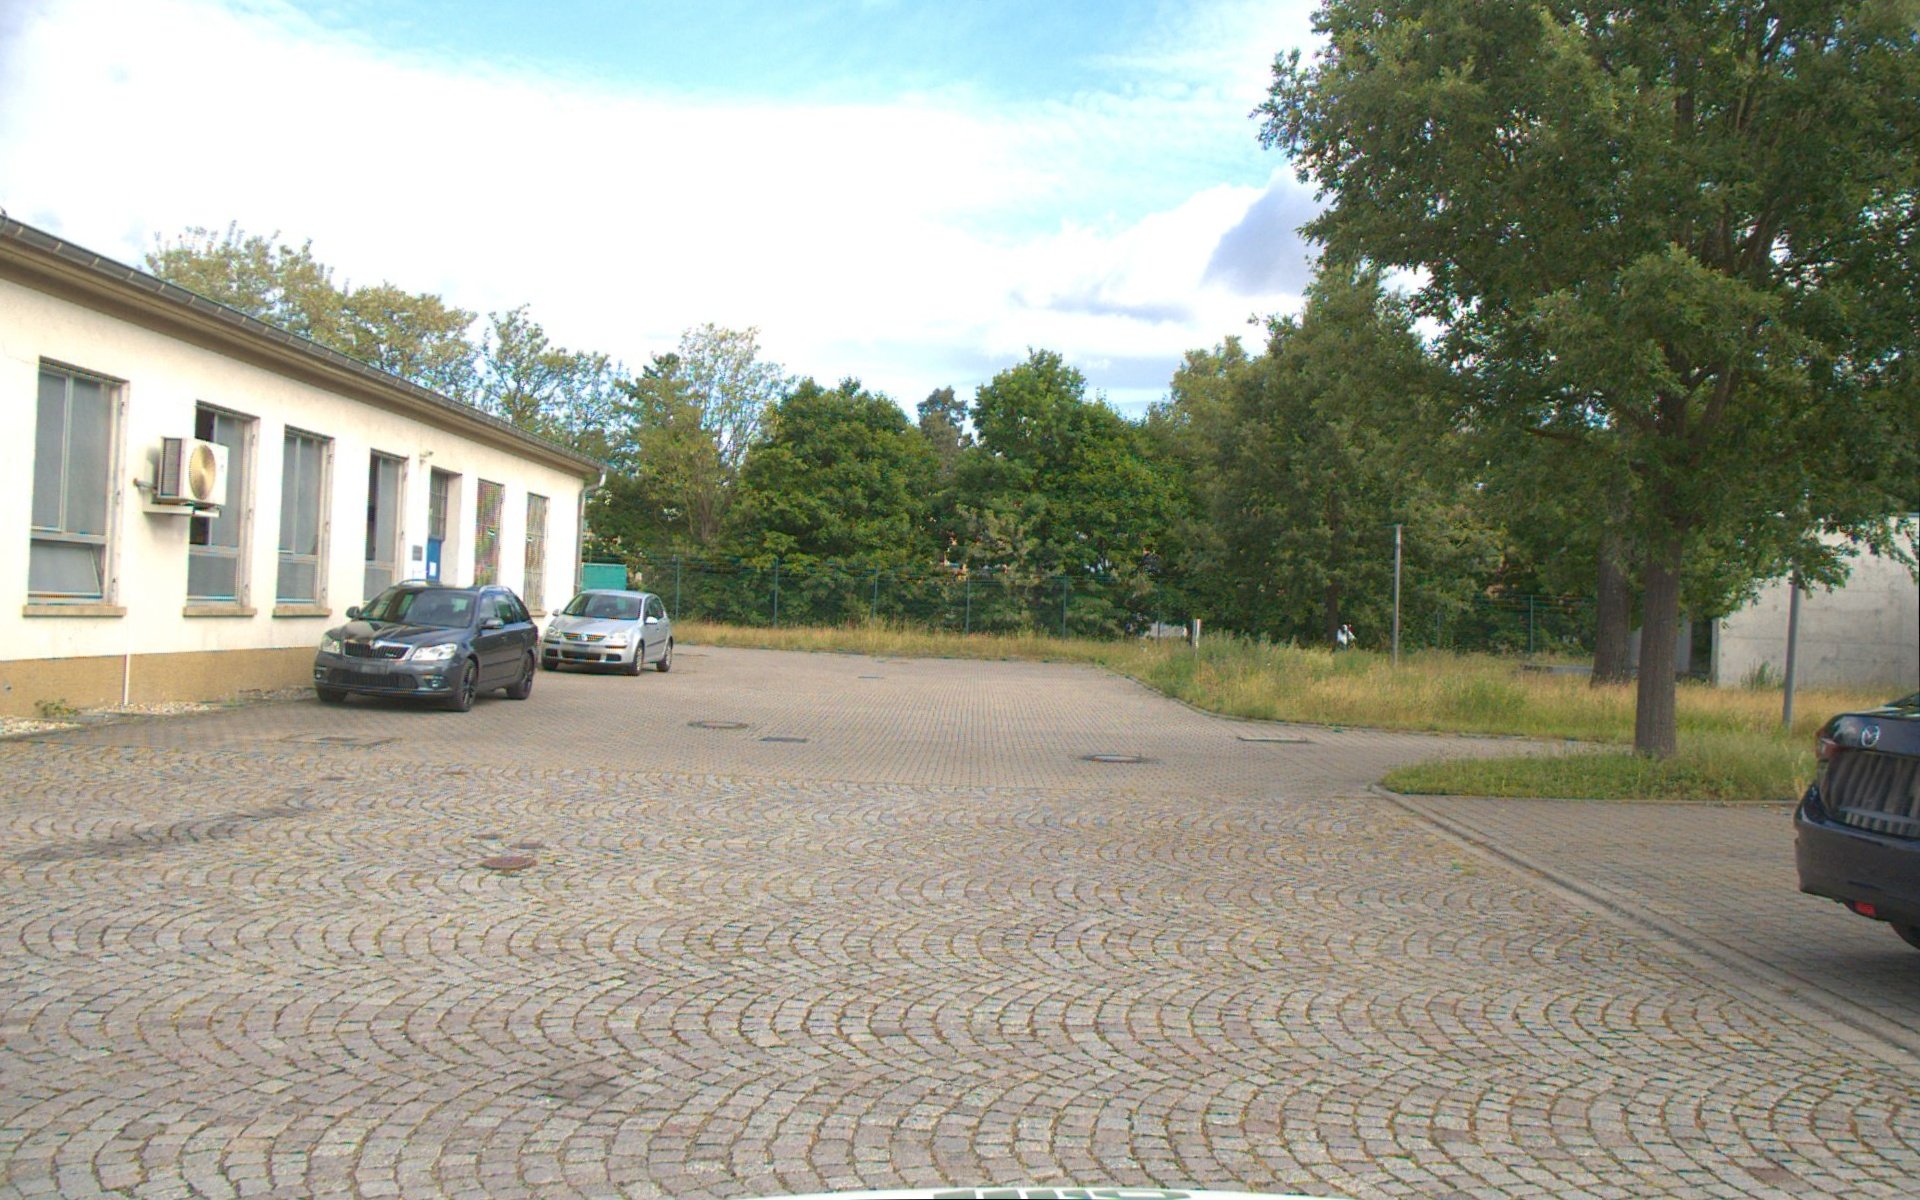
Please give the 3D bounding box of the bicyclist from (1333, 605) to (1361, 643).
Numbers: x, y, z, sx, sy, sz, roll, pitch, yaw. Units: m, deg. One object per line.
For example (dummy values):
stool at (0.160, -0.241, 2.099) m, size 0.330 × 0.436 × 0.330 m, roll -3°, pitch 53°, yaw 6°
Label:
bicyclist at (12.844, 0.801, 54.919) m, size 0.754 × 1.228 × 0.588 m, roll 2°, pitch -1°, yaw 0°

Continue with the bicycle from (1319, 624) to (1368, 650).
bicycle at (12.738, 1.224, 54.922) m, size 1.485 × 0.805 × 0.588 m, roll 2°, pitch -1°, yaw 0°

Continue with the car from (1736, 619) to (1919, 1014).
car at (5.803, 0.853, 6.741) m, size 4.372 × 1.472 × 1.944 m, roll 1°, pitch 0°, yaw 0°

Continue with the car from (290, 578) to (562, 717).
car at (-6.579, 0.545, 20.999) m, size 1.885 × 1.486 × 4.810 m, roll 2°, pitch 0°, yaw -1°

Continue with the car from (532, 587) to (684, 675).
car at (-6.451, 0.551, 30.821) m, size 1.885 × 1.464 × 4.367 m, roll 2°, pitch 0°, yaw -1°
